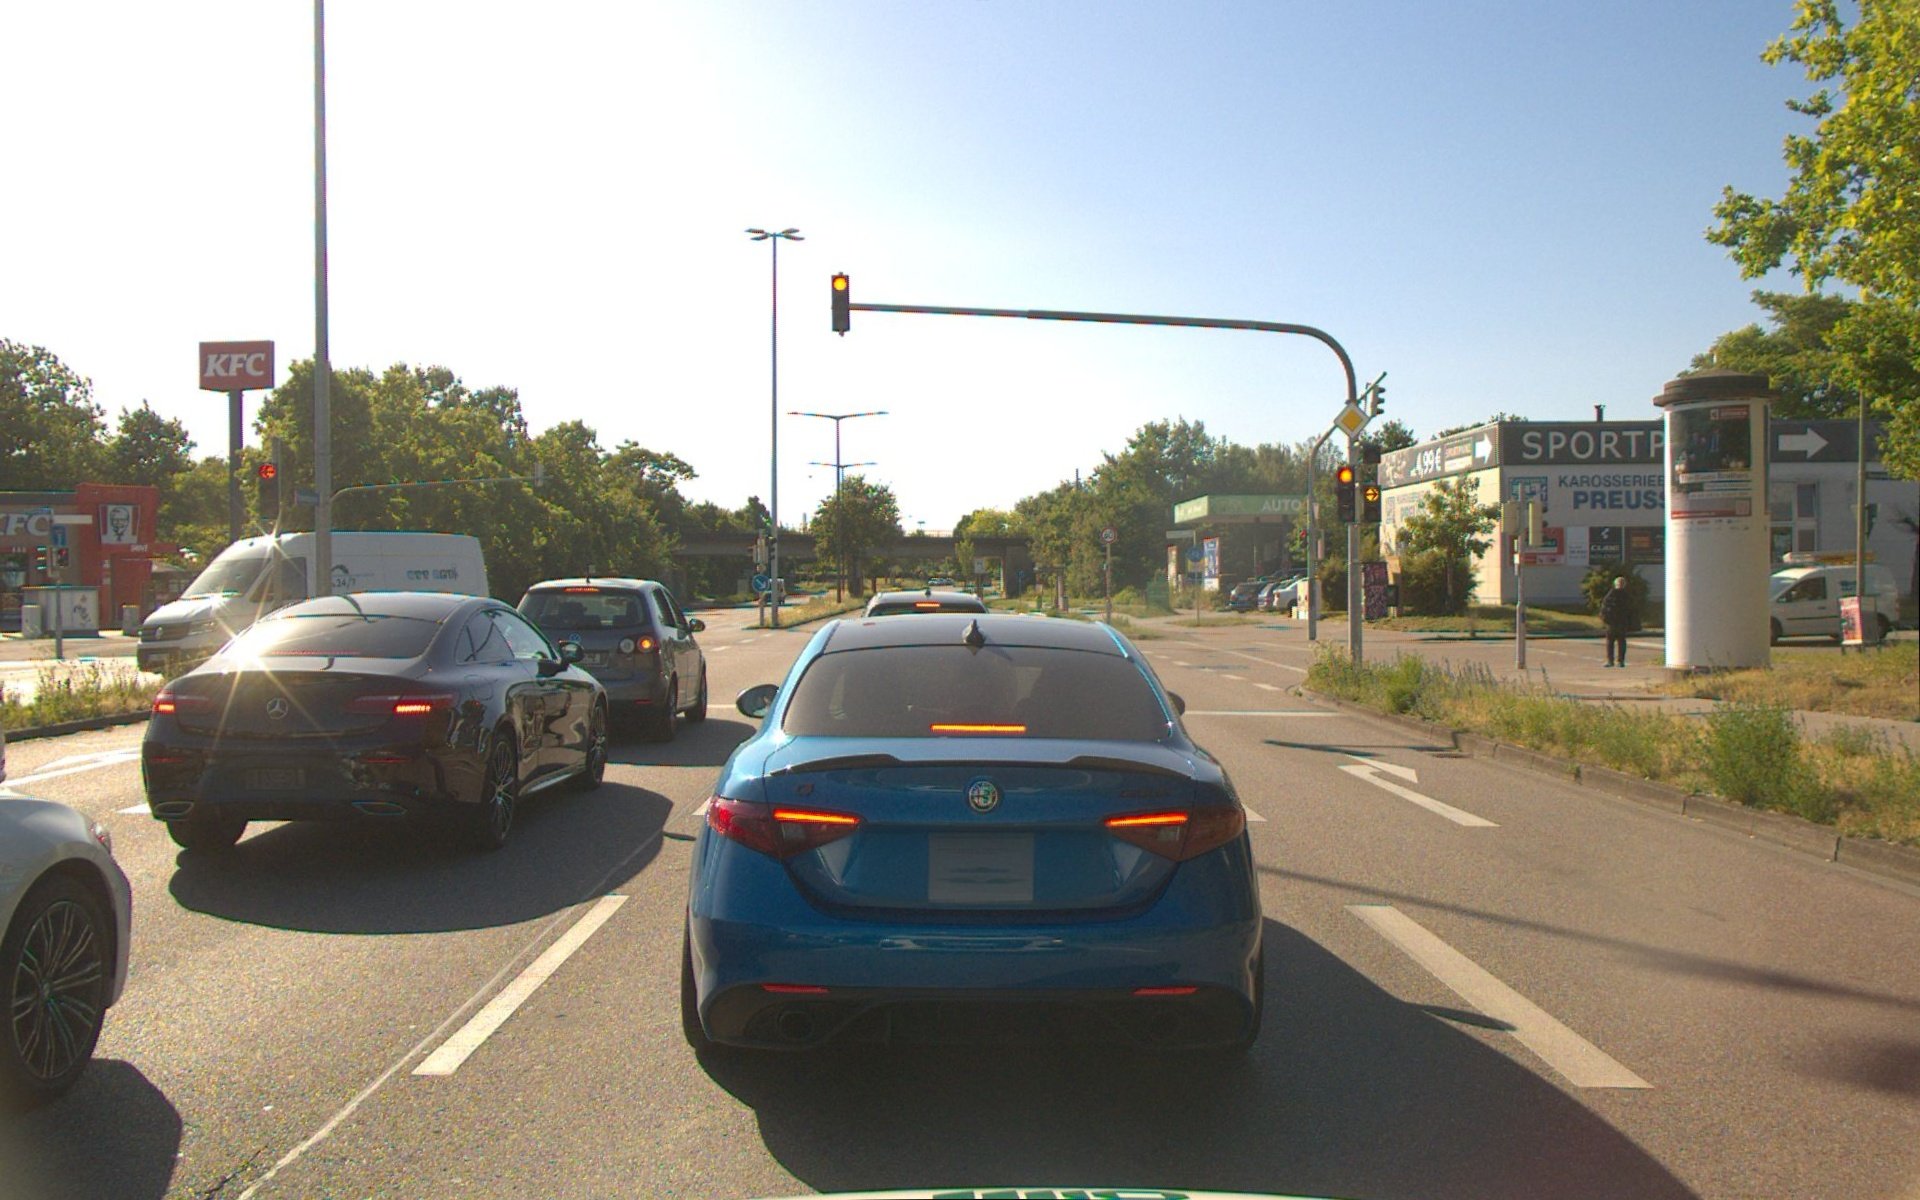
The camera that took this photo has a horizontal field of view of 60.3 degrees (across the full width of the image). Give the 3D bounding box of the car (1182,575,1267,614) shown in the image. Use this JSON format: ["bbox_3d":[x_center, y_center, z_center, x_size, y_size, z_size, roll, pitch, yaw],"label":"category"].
[{"bbox_3d":[11.878,-0.260,74.324,3.428,1.736,1.688,0,0,-16],"label":"car"}]

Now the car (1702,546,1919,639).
[{"bbox_3d":[20.601,-0.186,40.152,4.318,2.183,1.998,0,0,-4],"label":"car"}]

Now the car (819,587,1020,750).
[{"bbox_3d":[-0.395,0.614,17.048,1.828,1.475,3.931,0,0,-1],"label":"car"}]

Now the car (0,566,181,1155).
[{"bbox_3d":[-3.352,0.689,3.090,1.732,1.535,4.460,0,0,-1],"label":"car"}]

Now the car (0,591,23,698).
[{"bbox_3d":[-16.434,0.714,24.489,1.951,1.682,4.618,0,0,10],"label":"car"}]

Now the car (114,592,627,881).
[{"bbox_3d":[-3.417,0.675,10.563,1.732,1.439,4.460,0,0,-1],"label":"car"}]

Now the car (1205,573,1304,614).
[{"bbox_3d":[12.673,-0.266,71.146,3.928,1.736,1.686,0,0,-20],"label":"car"}]

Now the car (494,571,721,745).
[{"bbox_3d":[-3.593,0.529,17.500,1.615,1.626,3.931,0,0,-1],"label":"car"}]

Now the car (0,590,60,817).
[{"bbox_3d":[-7.050,0.678,9.121,1.819,1.454,4.403,0,0,-1],"label":"car"}]

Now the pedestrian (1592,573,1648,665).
[{"bbox_3d":[12.766,0.360,32.019,0.805,1.752,0.854,0,0,6],"label":"pedestrian"}]

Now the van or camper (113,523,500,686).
[{"bbox_3d":[-11.623,0.043,30.128,2.137,2.617,6.742,0,0,29],"label":"van or camper"}]

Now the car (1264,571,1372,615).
[{"bbox_3d":[14.345,-0.276,66.316,3.923,1.736,1.687,0,0,-17],"label":"car"}]

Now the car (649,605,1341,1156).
[{"bbox_3d":[0.069,0.753,6.352,1.828,1.409,3.931,0,0,-1],"label":"car"}]
